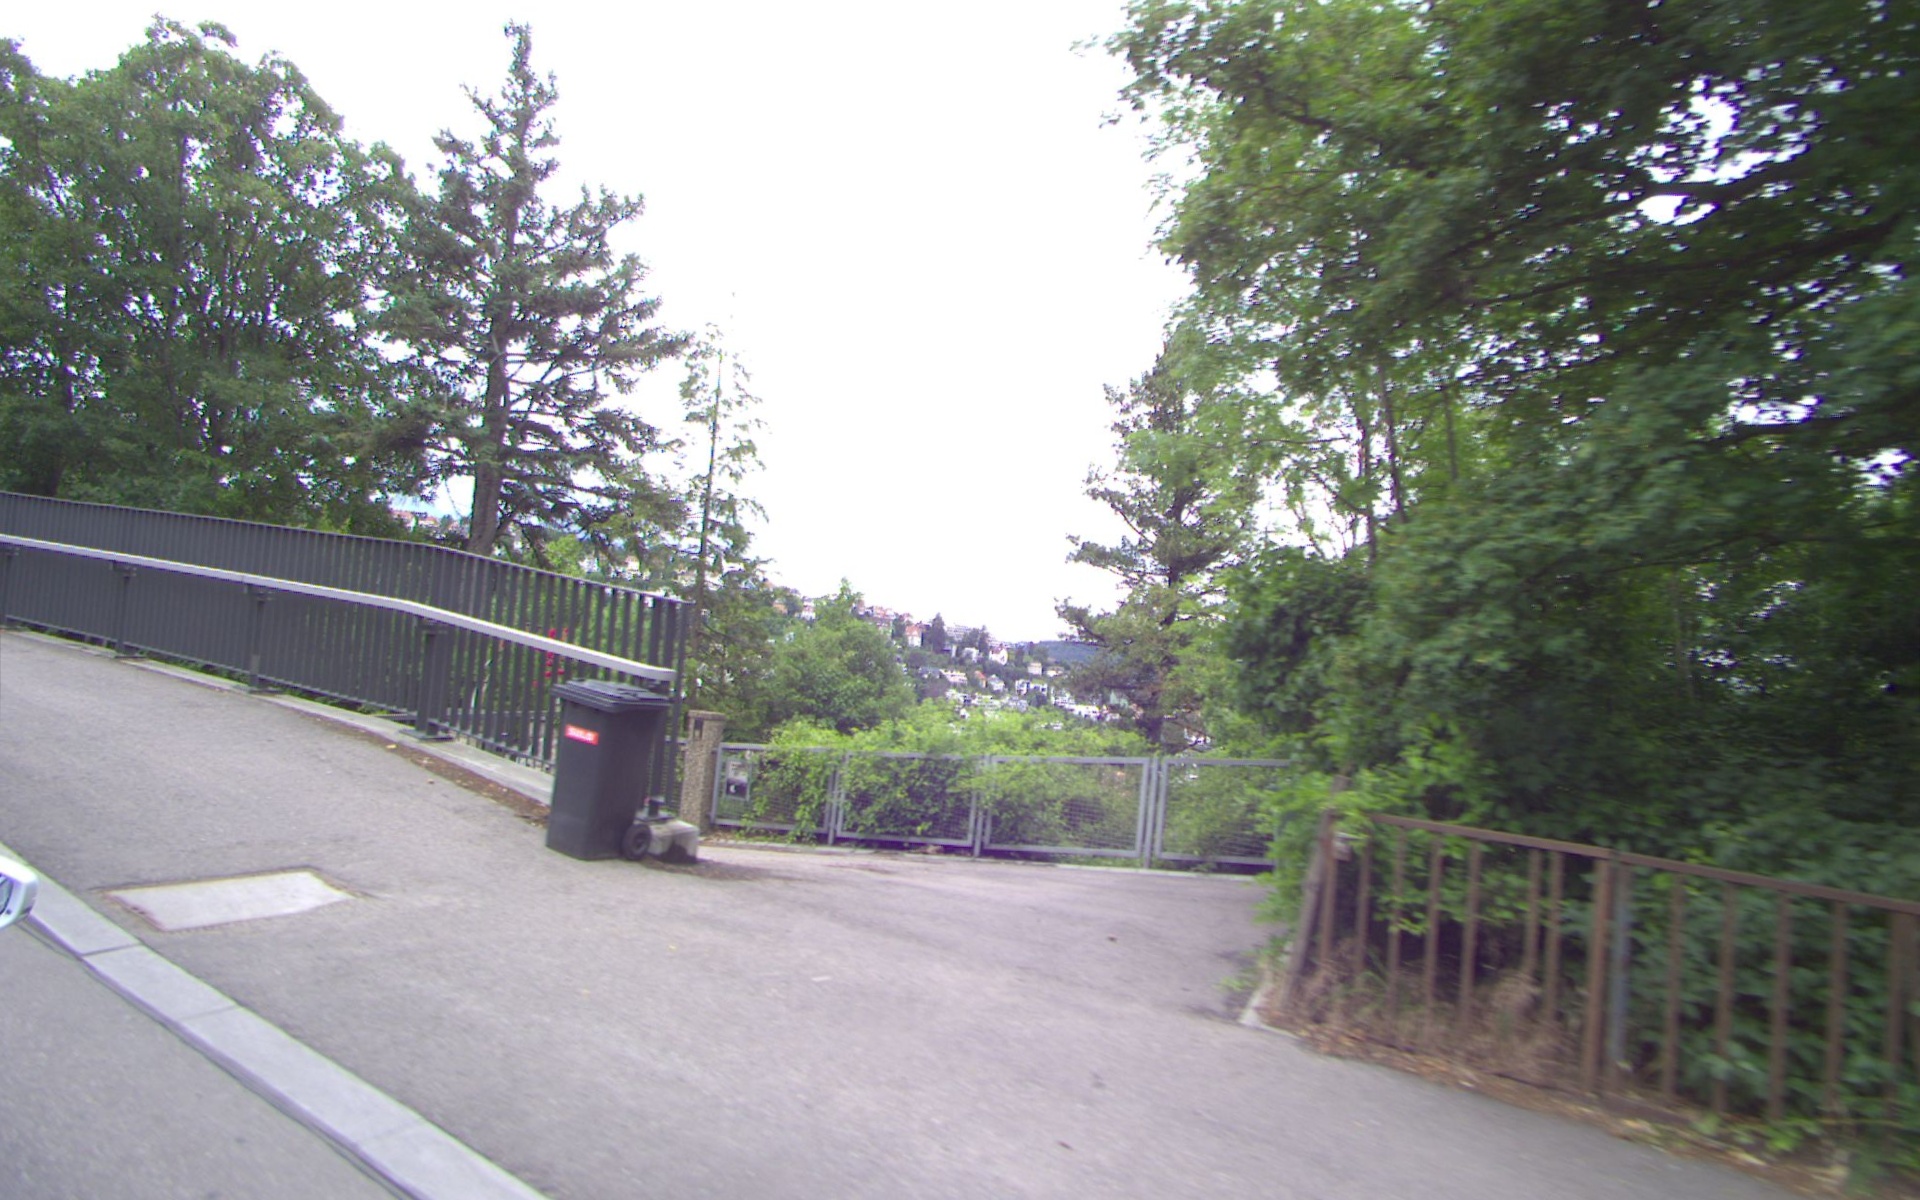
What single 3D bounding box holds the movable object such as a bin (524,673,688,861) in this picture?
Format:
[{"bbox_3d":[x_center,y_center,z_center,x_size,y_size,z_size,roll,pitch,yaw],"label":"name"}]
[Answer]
[{"bbox_3d":[-1.921,0.887,5.480,0.523,0.891,0.521,7,-2,29],"label":"movable object such as a bin"}]
